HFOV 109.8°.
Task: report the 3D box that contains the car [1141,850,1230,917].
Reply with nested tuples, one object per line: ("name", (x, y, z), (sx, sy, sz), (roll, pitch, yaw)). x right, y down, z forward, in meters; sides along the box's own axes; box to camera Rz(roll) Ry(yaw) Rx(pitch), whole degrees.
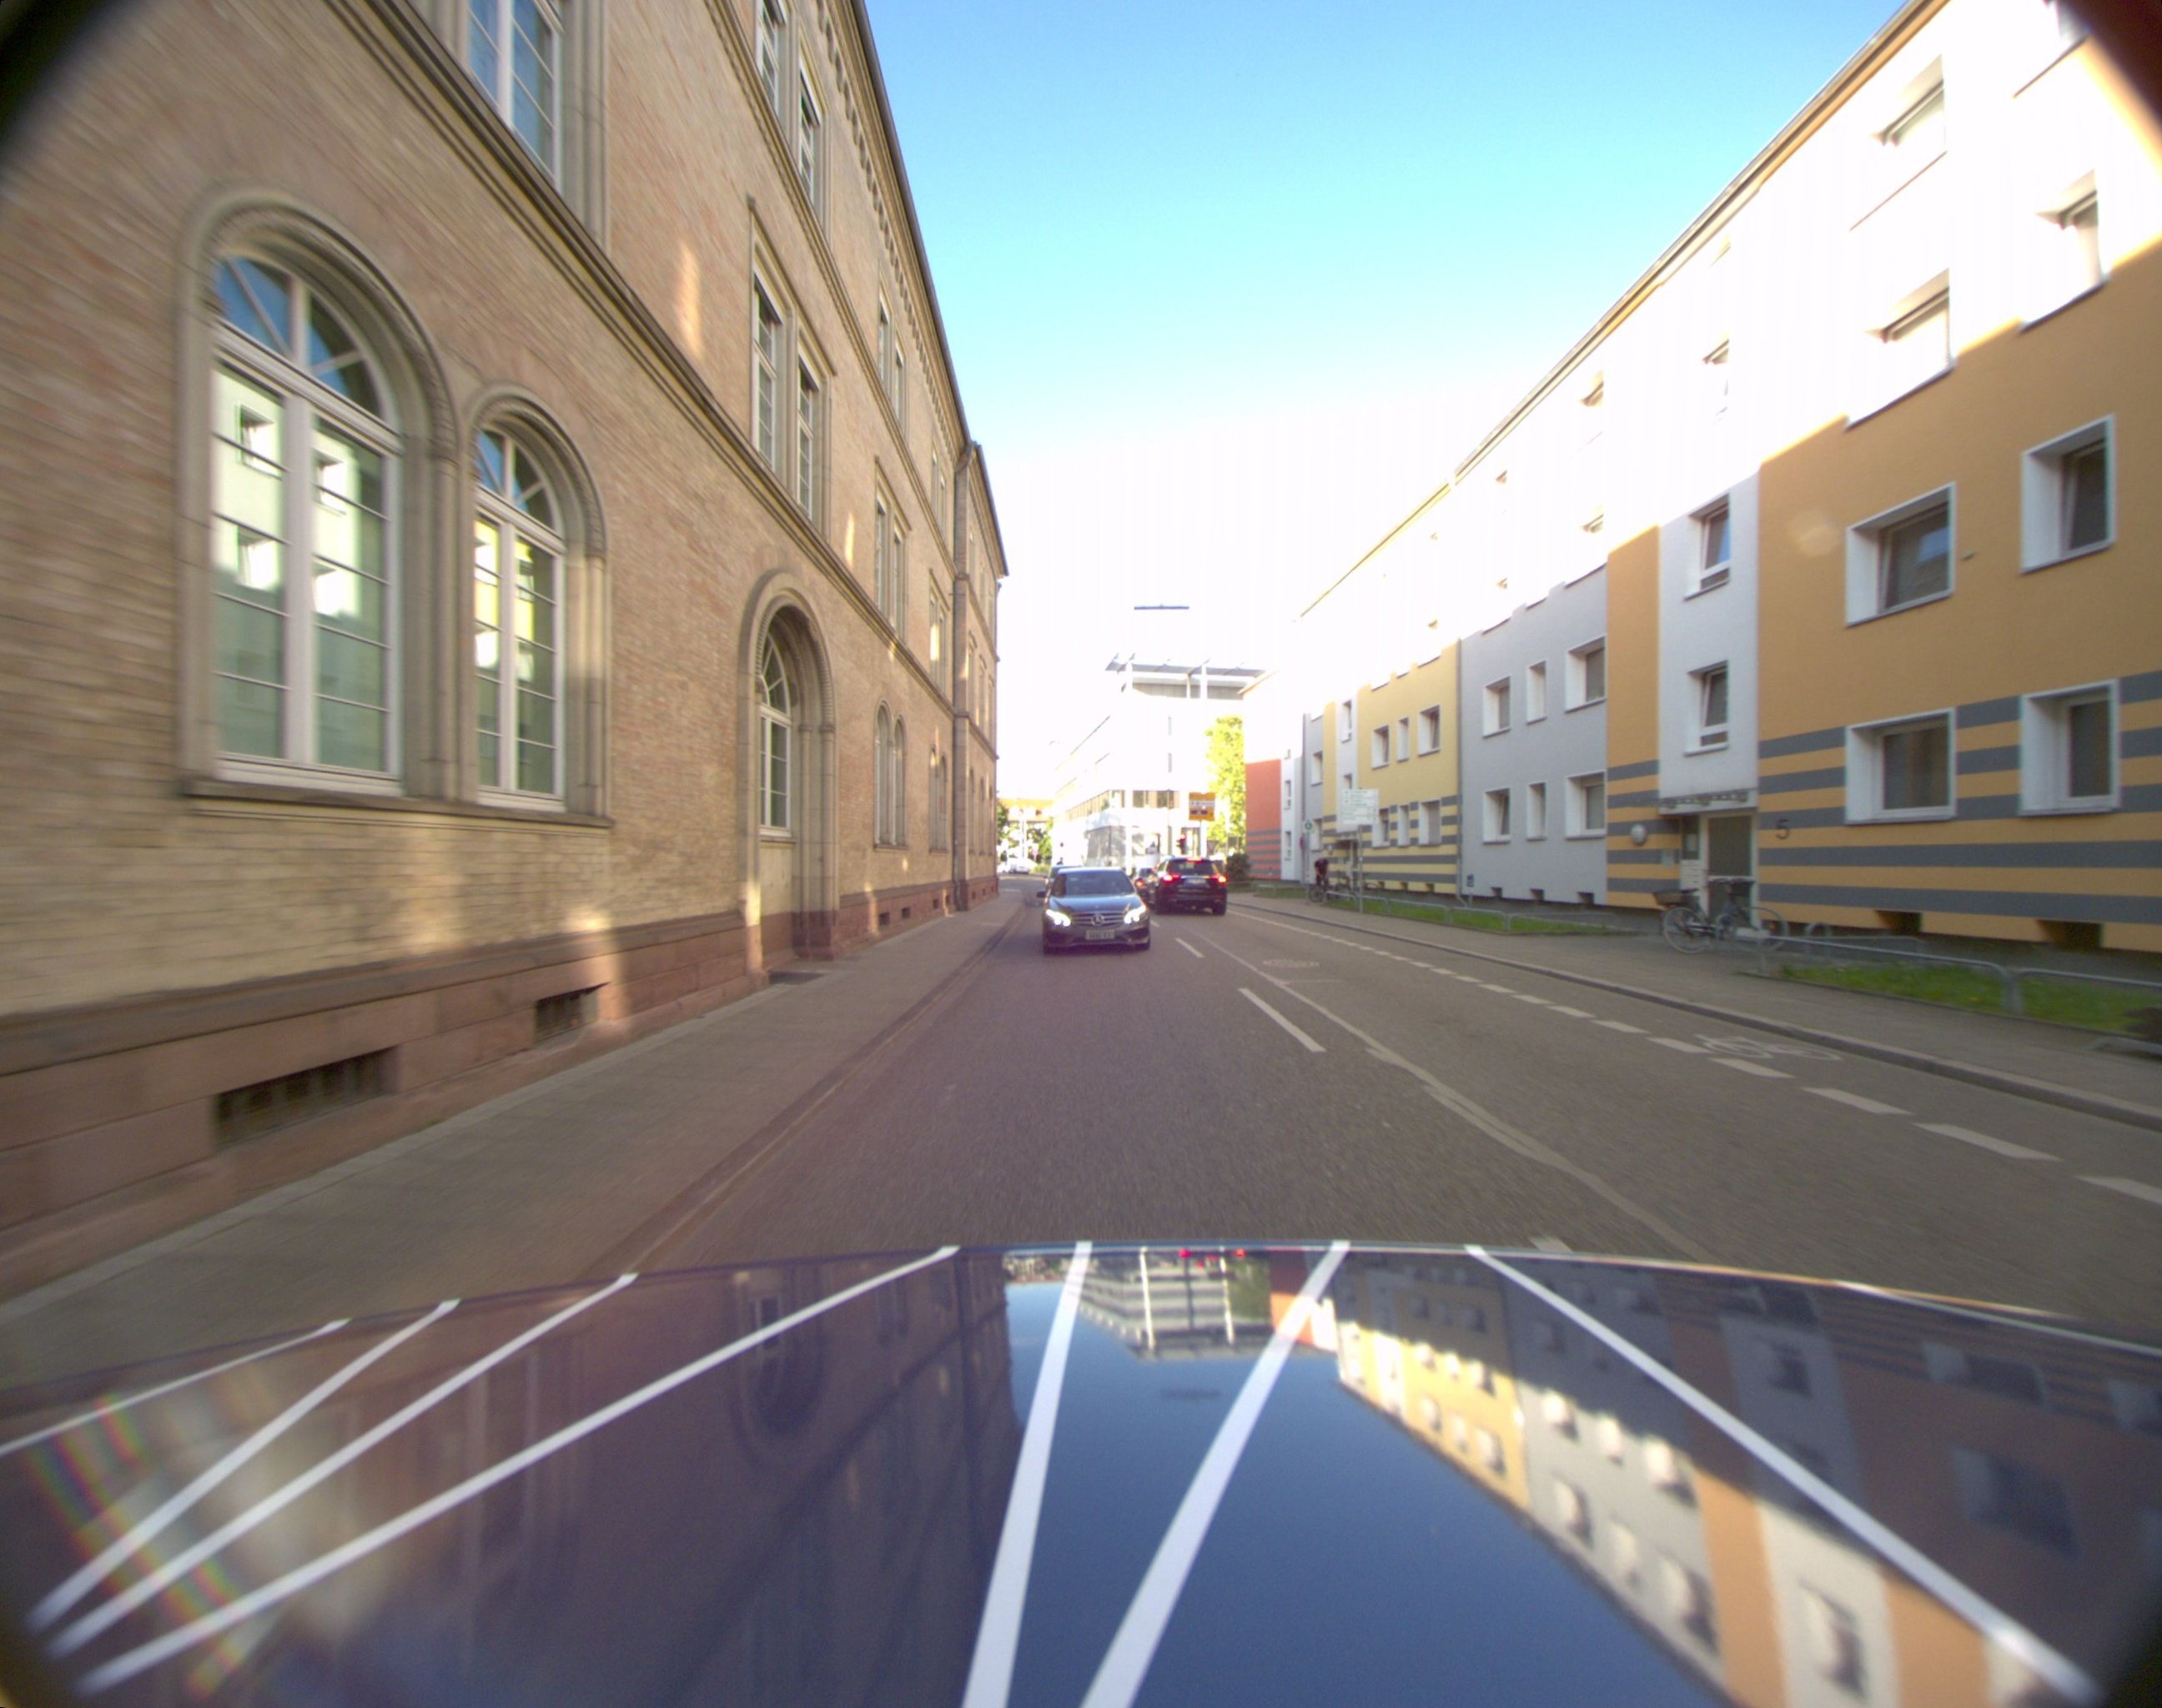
("car", (3.108, 0.839, 23.695), (1.905, 1.824, 5.094), (2, 0, -1))

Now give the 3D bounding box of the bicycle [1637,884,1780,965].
("bicycle", (9.464, 1.039, 11.487), (1.757, 1.138, 0.650), (0, 0, -8))

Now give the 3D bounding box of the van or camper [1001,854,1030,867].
("van or camper", (-11.380, 1.107, 131.971), (4.737, 2.074, 1.996), (0, 0, -22))

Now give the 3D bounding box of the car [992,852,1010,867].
("car", (-10.984, 0.811, 104.632), (2.001, 2.002, 3.996), (0, 0, -12))

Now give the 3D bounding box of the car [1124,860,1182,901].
("car", (2.809, 1.007, 30.434), (1.746, 1.477, 4.136), (2, 0, -3))

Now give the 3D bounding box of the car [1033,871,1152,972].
("car", (0.282, 1.074, 13.914), (1.798, 1.459, 4.720), (0, 0, 3))

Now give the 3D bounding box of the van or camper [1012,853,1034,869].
("van or camper", (-7.276, 0.880, 94.944), (2.163, 2.002, 4.971), (0, 0, -12))

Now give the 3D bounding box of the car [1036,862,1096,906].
("car", (-0.522, 1.134, 30.304), (1.746, 1.594, 4.003), (0, 0, 8))

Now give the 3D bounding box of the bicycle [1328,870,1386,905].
("bicycle", (9.308, 1.129, 25.656), (1.757, 1.138, 0.650), (0, 0, -8))

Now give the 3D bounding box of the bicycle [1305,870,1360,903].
("bicycle", (8.941, 1.140, 27.026), (1.757, 1.138, 0.650), (0, 0, -8))

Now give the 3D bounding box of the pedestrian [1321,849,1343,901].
("pedestrian", (9.042, 0.757, 27.382), (0.720, 1.844, 0.871), (0, 0, 21))
